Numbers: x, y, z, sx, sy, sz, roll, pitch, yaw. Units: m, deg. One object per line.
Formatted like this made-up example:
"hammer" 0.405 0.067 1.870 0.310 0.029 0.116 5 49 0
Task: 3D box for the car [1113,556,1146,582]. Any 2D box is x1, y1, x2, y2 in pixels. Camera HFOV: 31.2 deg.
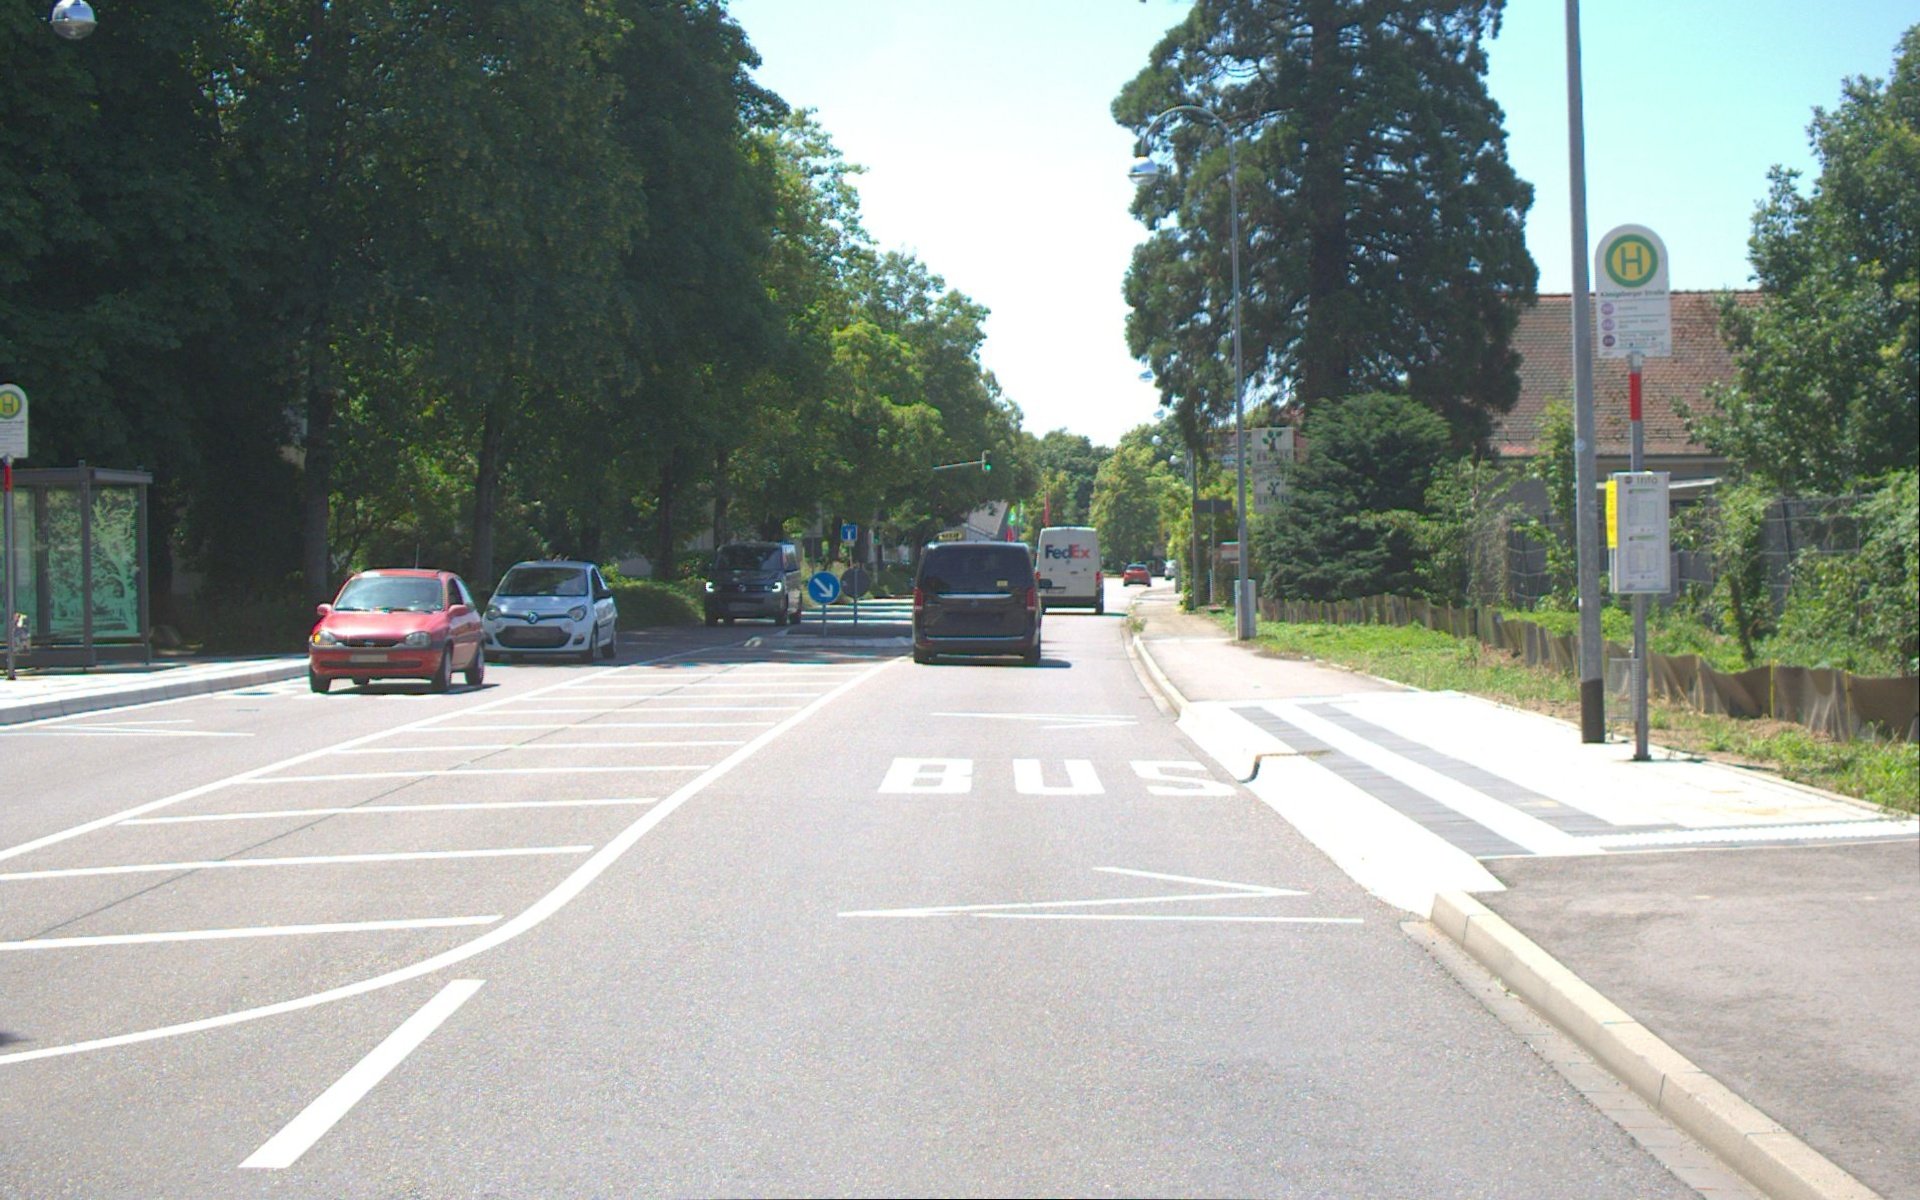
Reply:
"car" 11.149 -2.026 226.022 1.857 1.637 4.000 1 1 -1

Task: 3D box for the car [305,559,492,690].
"car" -6.537 0.263 40.342 1.550 1.445 3.691 1 0 0

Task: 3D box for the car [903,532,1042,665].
"car" 0.205 -0.068 52.057 1.993 1.886 4.000 1 1 1

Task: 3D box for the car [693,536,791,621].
"car" -5.118 -0.535 81.320 1.993 1.903 4.991 1 1 0

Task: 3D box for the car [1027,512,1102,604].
"car" 3.145 -1.294 103.162 2.120 2.668 5.662 1 1 2

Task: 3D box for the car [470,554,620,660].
"car" -6.095 0.075 50.811 1.691 1.455 3.640 1 1 1
